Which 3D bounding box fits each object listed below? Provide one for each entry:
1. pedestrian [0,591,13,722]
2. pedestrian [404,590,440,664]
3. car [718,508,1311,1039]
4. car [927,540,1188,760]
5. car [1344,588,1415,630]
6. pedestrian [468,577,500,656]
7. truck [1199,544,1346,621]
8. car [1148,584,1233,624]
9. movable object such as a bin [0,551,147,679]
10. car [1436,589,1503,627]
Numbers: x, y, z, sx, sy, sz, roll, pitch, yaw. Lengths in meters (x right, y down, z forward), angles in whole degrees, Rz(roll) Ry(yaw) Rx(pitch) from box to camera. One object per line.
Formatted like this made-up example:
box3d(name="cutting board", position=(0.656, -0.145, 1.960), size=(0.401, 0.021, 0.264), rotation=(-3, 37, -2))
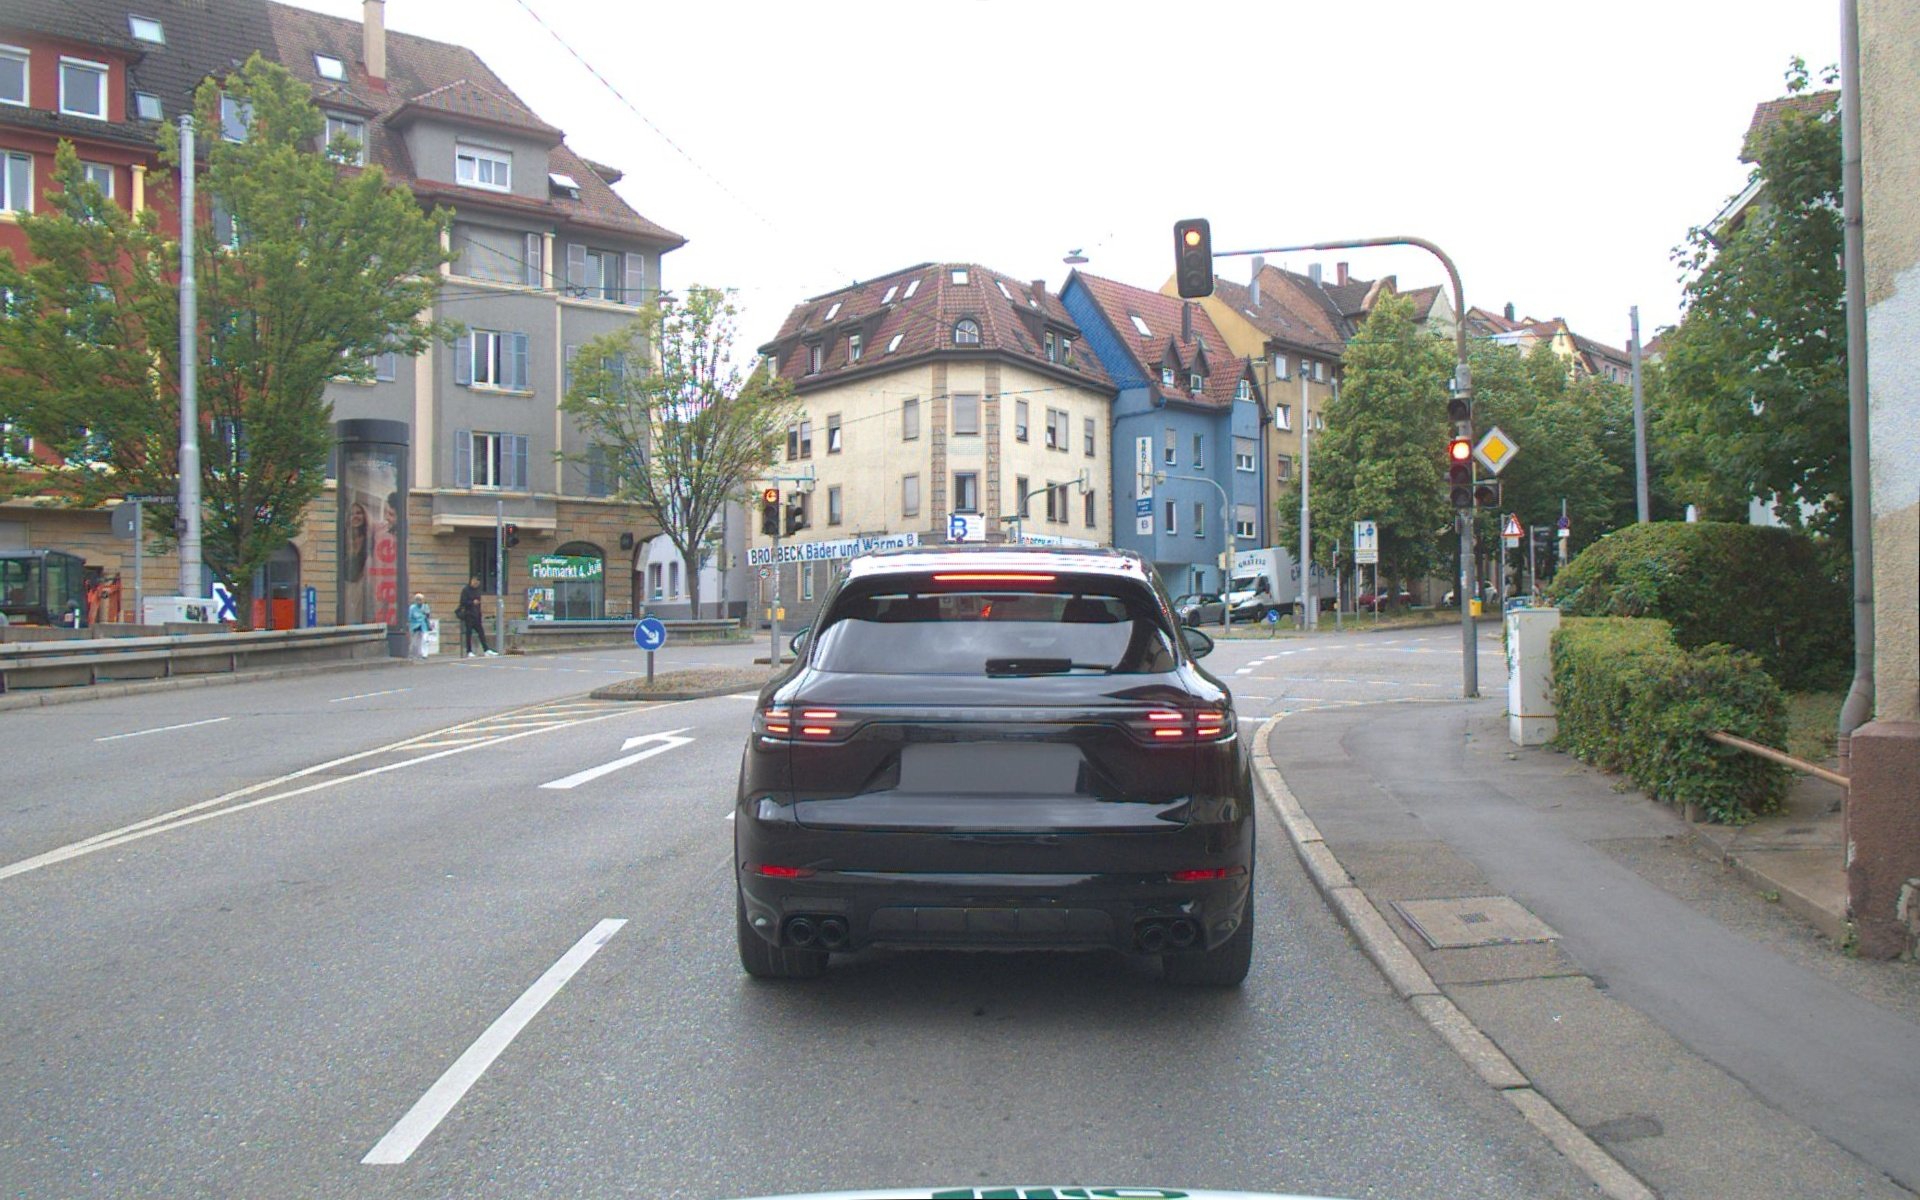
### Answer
box3d(name="pedestrian", position=(-13.279, 0.761, 22.548), size=(0.537, 1.760, 0.586), rotation=(2, -1, -35))
box3d(name="pedestrian", position=(-11.922, 0.595, 36.675), size=(0.577, 1.594, 0.486), rotation=(2, 0, -1))
box3d(name="car", position=(0.067, 0.533, 7.395), size=(1.939, 1.713, 3.997), rotation=(0, 1, -4))
box3d(name="car", position=(1.034, 0.391, 15.056), size=(1.951, 1.713, 4.003), rotation=(0, 0, 10))
box3d(name="car", position=(21.959, 0.498, 86.510), size=(1.965, 2.049, 3.975), rotation=(2, 0, 42))
box3d(name="pedestrian", position=(-10.699, 0.366, 37.177), size=(0.503, 1.760, 0.451), rotation=(2, -1, 1))
box3d(name="truck", position=(14.988, -0.783, 78.747), size=(2.830, 3.398, 8.744), rotation=(2, 0, 41))
box3d(name="car", position=(10.062, 0.171, 71.993), size=(1.962, 1.713, 3.981), rotation=(0, 0, 39))
box3d(name="movable object such as a bin", position=(-14.146, 0.197, 25.651), size=(1.870, 1.802, 3.986), rotation=(2, 0, -14))
box3d(name="car", position=(29.047, 0.460, 94.248), size=(3.970, 2.049, 1.967), rotation=(2, 0, -45))
